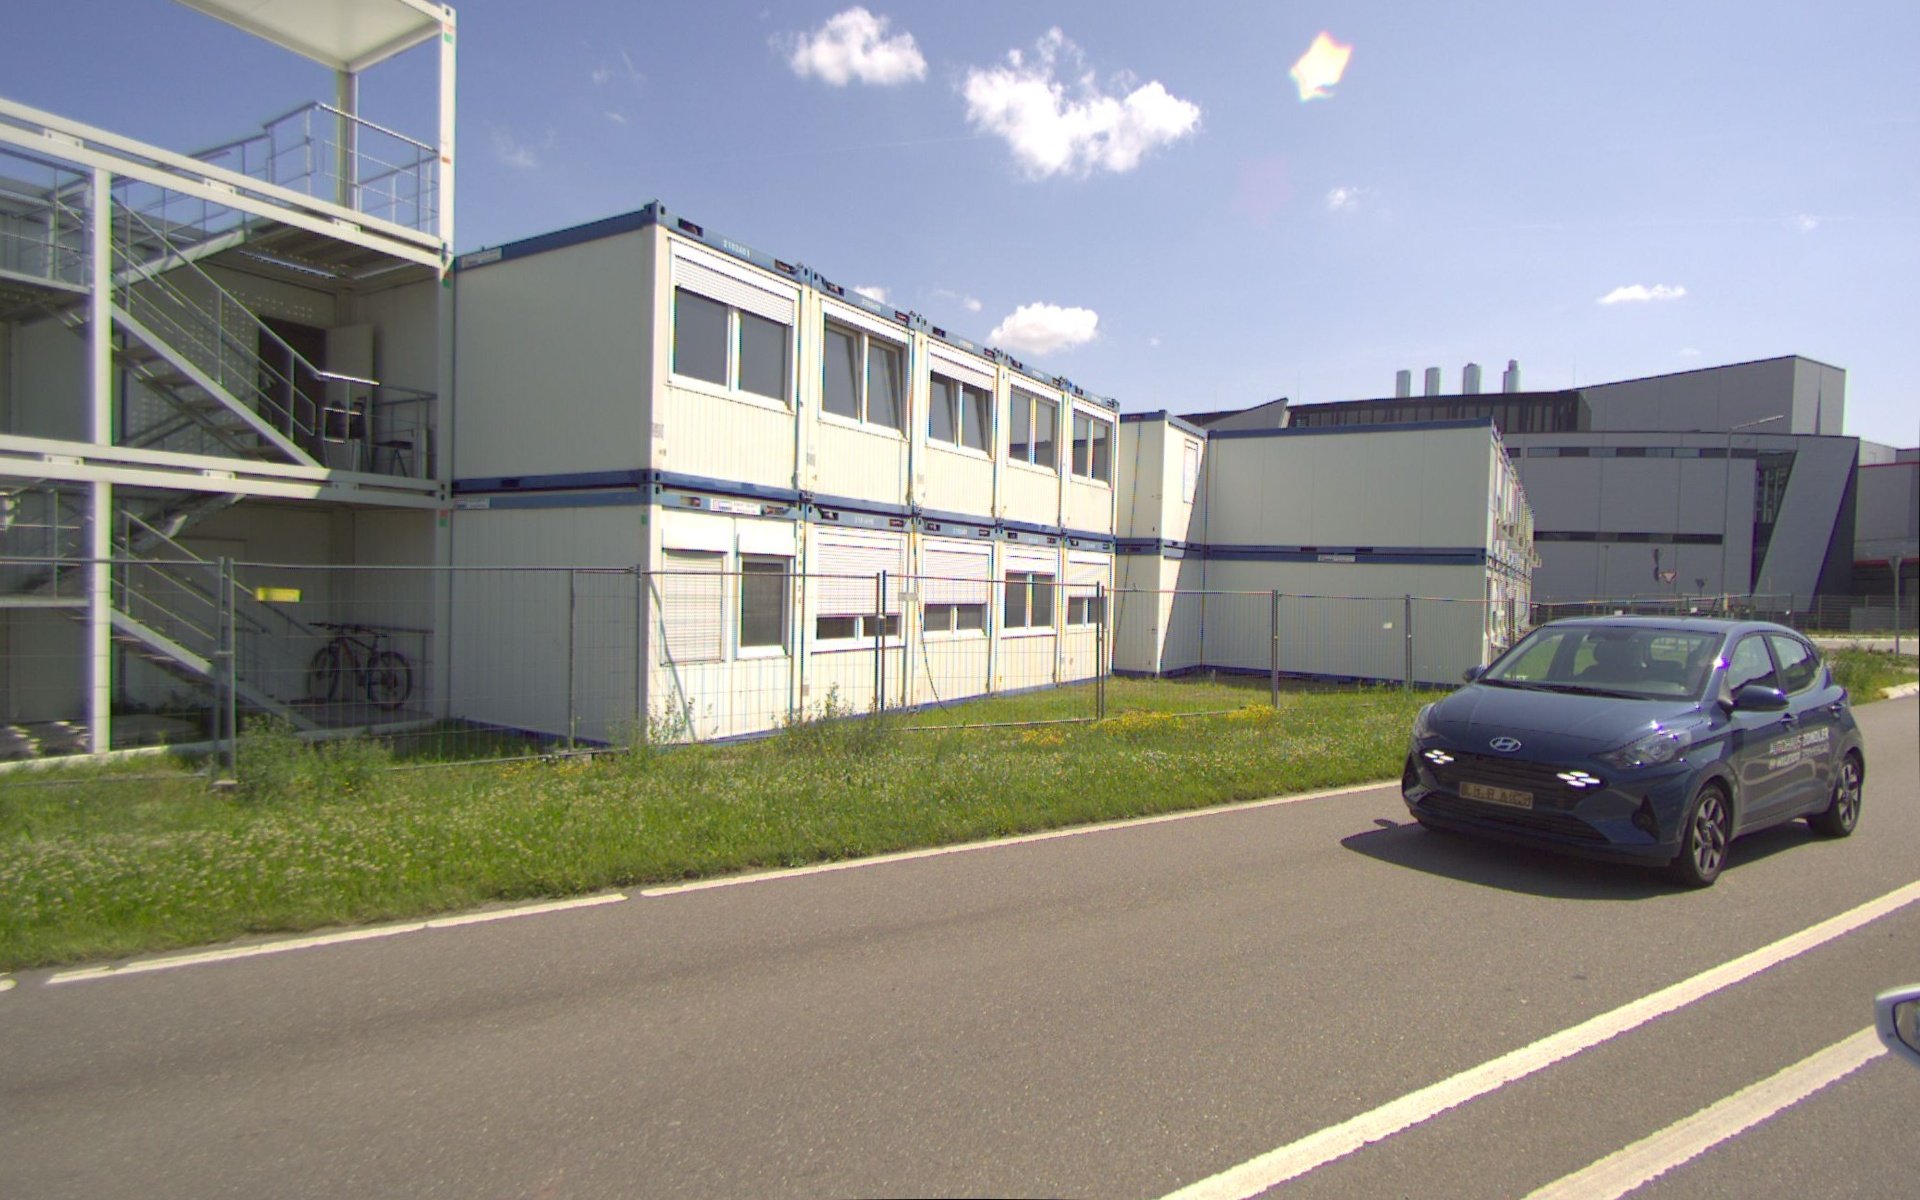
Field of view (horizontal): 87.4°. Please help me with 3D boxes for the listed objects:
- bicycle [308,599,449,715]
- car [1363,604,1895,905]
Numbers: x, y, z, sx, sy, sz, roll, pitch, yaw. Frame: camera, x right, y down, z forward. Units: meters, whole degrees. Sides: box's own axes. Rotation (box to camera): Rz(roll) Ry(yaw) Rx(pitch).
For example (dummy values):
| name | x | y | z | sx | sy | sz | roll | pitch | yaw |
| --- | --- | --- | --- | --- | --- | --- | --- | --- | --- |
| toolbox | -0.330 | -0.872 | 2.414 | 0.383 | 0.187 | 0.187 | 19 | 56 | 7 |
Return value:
| name | x | y | z | sx | sy | sz | roll | pitch | yaw |
| --- | --- | --- | --- | --- | --- | --- | --- | --- | --- |
| bicycle | -7.267 | 0.667 | 12.519 | 2.010 | 1.318 | 0.607 | 1 | 0 | 31 |
| car | 4.721 | 0.834 | 6.919 | 3.959 | 1.501 | 1.692 | 2 | 0 | -35 |
